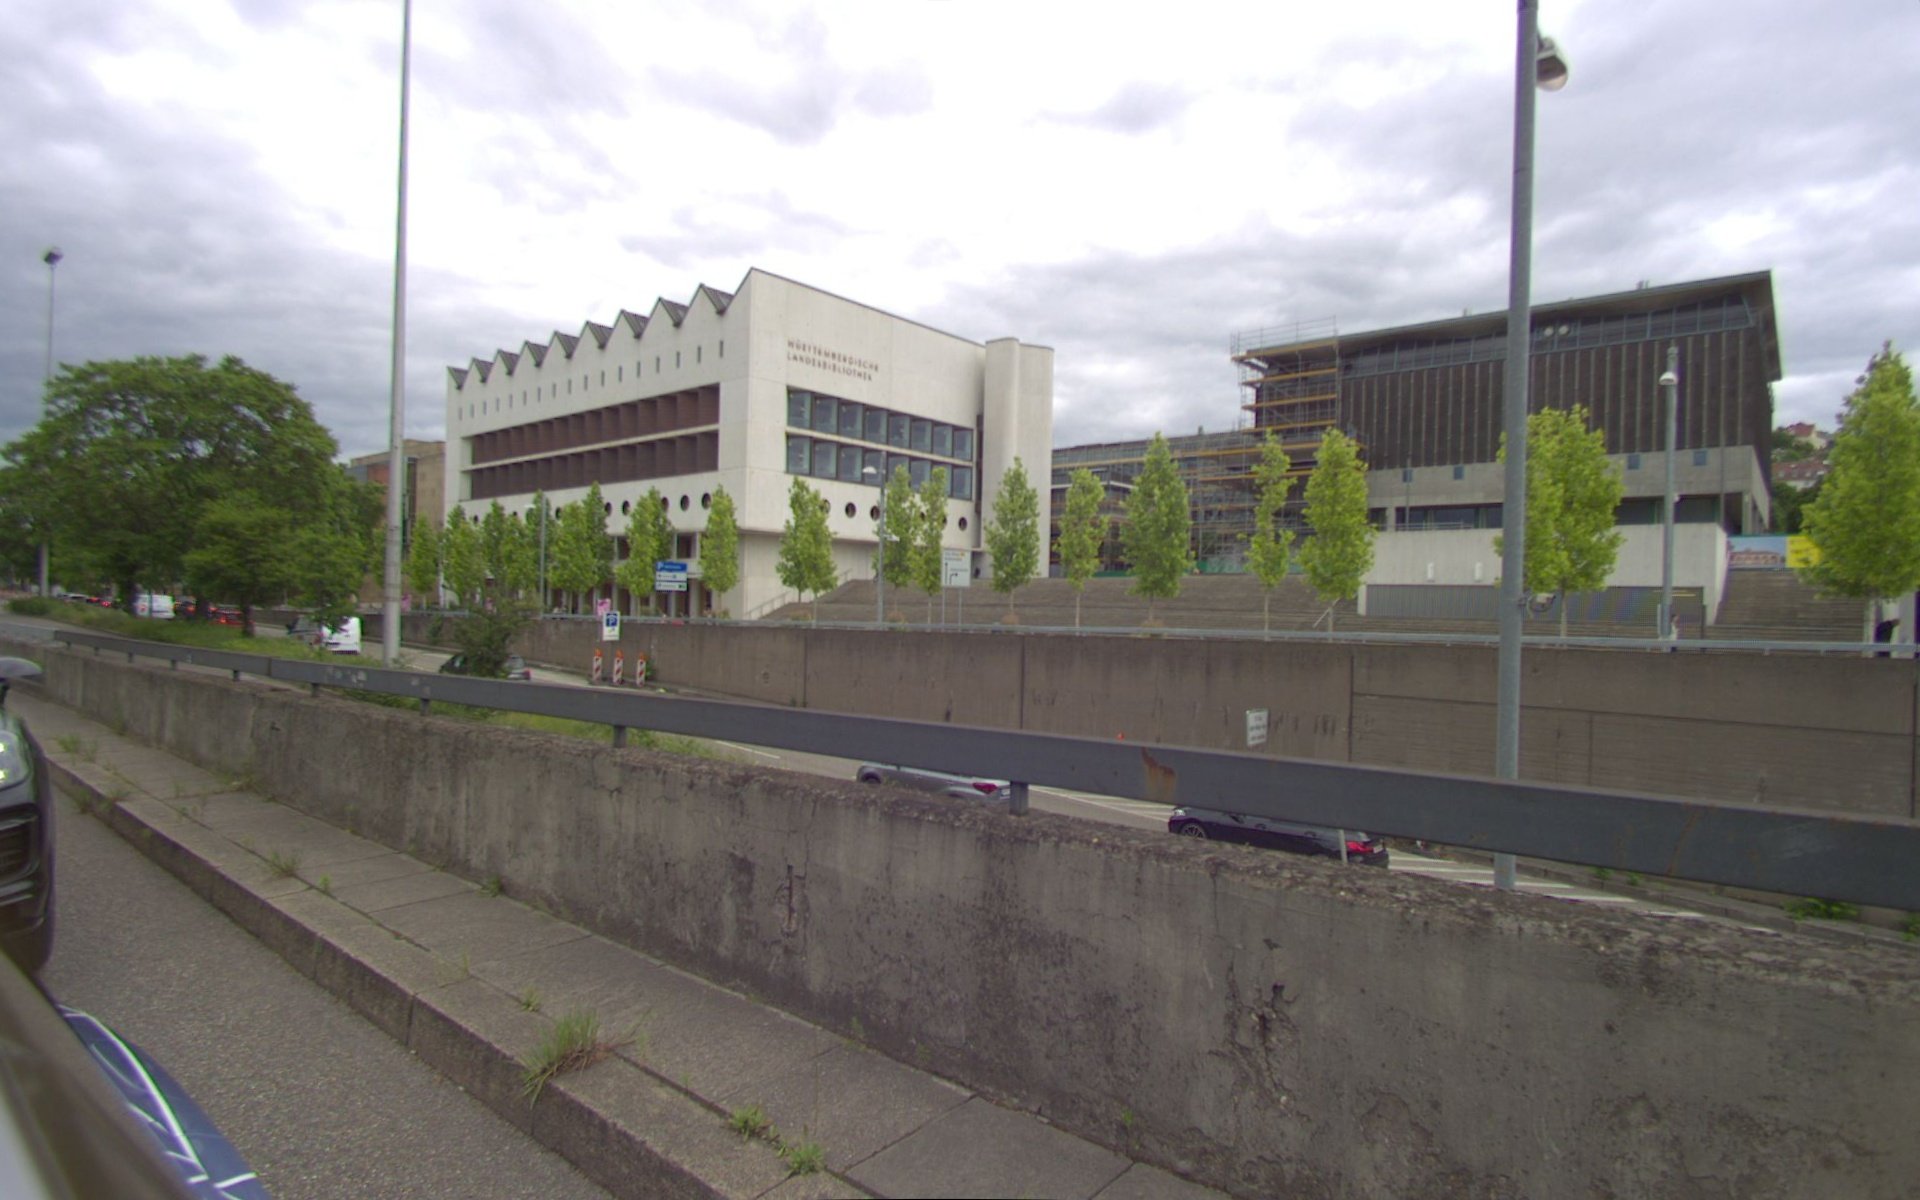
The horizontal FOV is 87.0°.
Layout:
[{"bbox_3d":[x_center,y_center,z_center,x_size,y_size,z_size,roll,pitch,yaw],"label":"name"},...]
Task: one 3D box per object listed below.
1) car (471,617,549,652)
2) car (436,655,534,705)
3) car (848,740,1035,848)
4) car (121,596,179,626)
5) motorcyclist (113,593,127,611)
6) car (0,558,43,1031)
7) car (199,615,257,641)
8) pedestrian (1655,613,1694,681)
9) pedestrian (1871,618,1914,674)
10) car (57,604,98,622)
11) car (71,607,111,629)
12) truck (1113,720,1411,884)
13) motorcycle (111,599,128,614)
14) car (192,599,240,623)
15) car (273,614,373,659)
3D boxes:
[{"bbox_3d":[-25.337,1.904,56.900,4.732,1.869,2.152,-1,-2,40],"label":"car"},{"bbox_3d":[-17.523,2.900,37.279,3.999,1.560,1.855,0,-1,42],"label":"car"},{"bbox_3d":[-0.457,4.111,21.967,3.903,1.553,1.696,1,1,39],"label":"car"},{"bbox_3d":[-55.632,0.736,69.445,5.246,1.651,1.973,2,-5,40],"label":"car"},{"bbox_3d":[-67.385,0.167,81.175,0.718,1.362,0.662,3,-3,41],"label":"motorcyclist"},{"bbox_3d":[-5.529,0.651,4.450,4.733,1.602,1.879,0,0,44],"label":"car"},{"bbox_3d":[-42.334,1.601,58.505,3.999,1.497,1.972,-1,-2,42],"label":"car"},{"bbox_3d":[21.765,1.431,30.844,0.730,2.029,0.793,1,-3,-44],"label":"pedestrian"},{"bbox_3d":[27.835,1.360,30.207,0.729,1.655,0.794,1,-3,-38],"label":"pedestrian"},{"bbox_3d":[-74.108,1.065,84.978,3.998,1.409,1.973,0,-4,41],"label":"car"},{"bbox_3d":[-69.398,1.429,80.790,4.144,1.500,1.757,3,0,40],"label":"car"},{"bbox_3d":[5.985,3.883,20.558,5.378,2.419,2.159,-2,-2,42],"label":"truck"},{"bbox_3d":[-67.442,0.516,81.198,2.050,1.106,0.678,3,-2,41],"label":"motorcycle"},{"bbox_3d":[-55.123,0.817,74.943,4.141,1.500,1.758,3,0,38],"label":"car"},{"bbox_3d":[-30.367,1.697,48.199,5.104,2.029,2.199,-1,-1,35],"label":"car"}]
